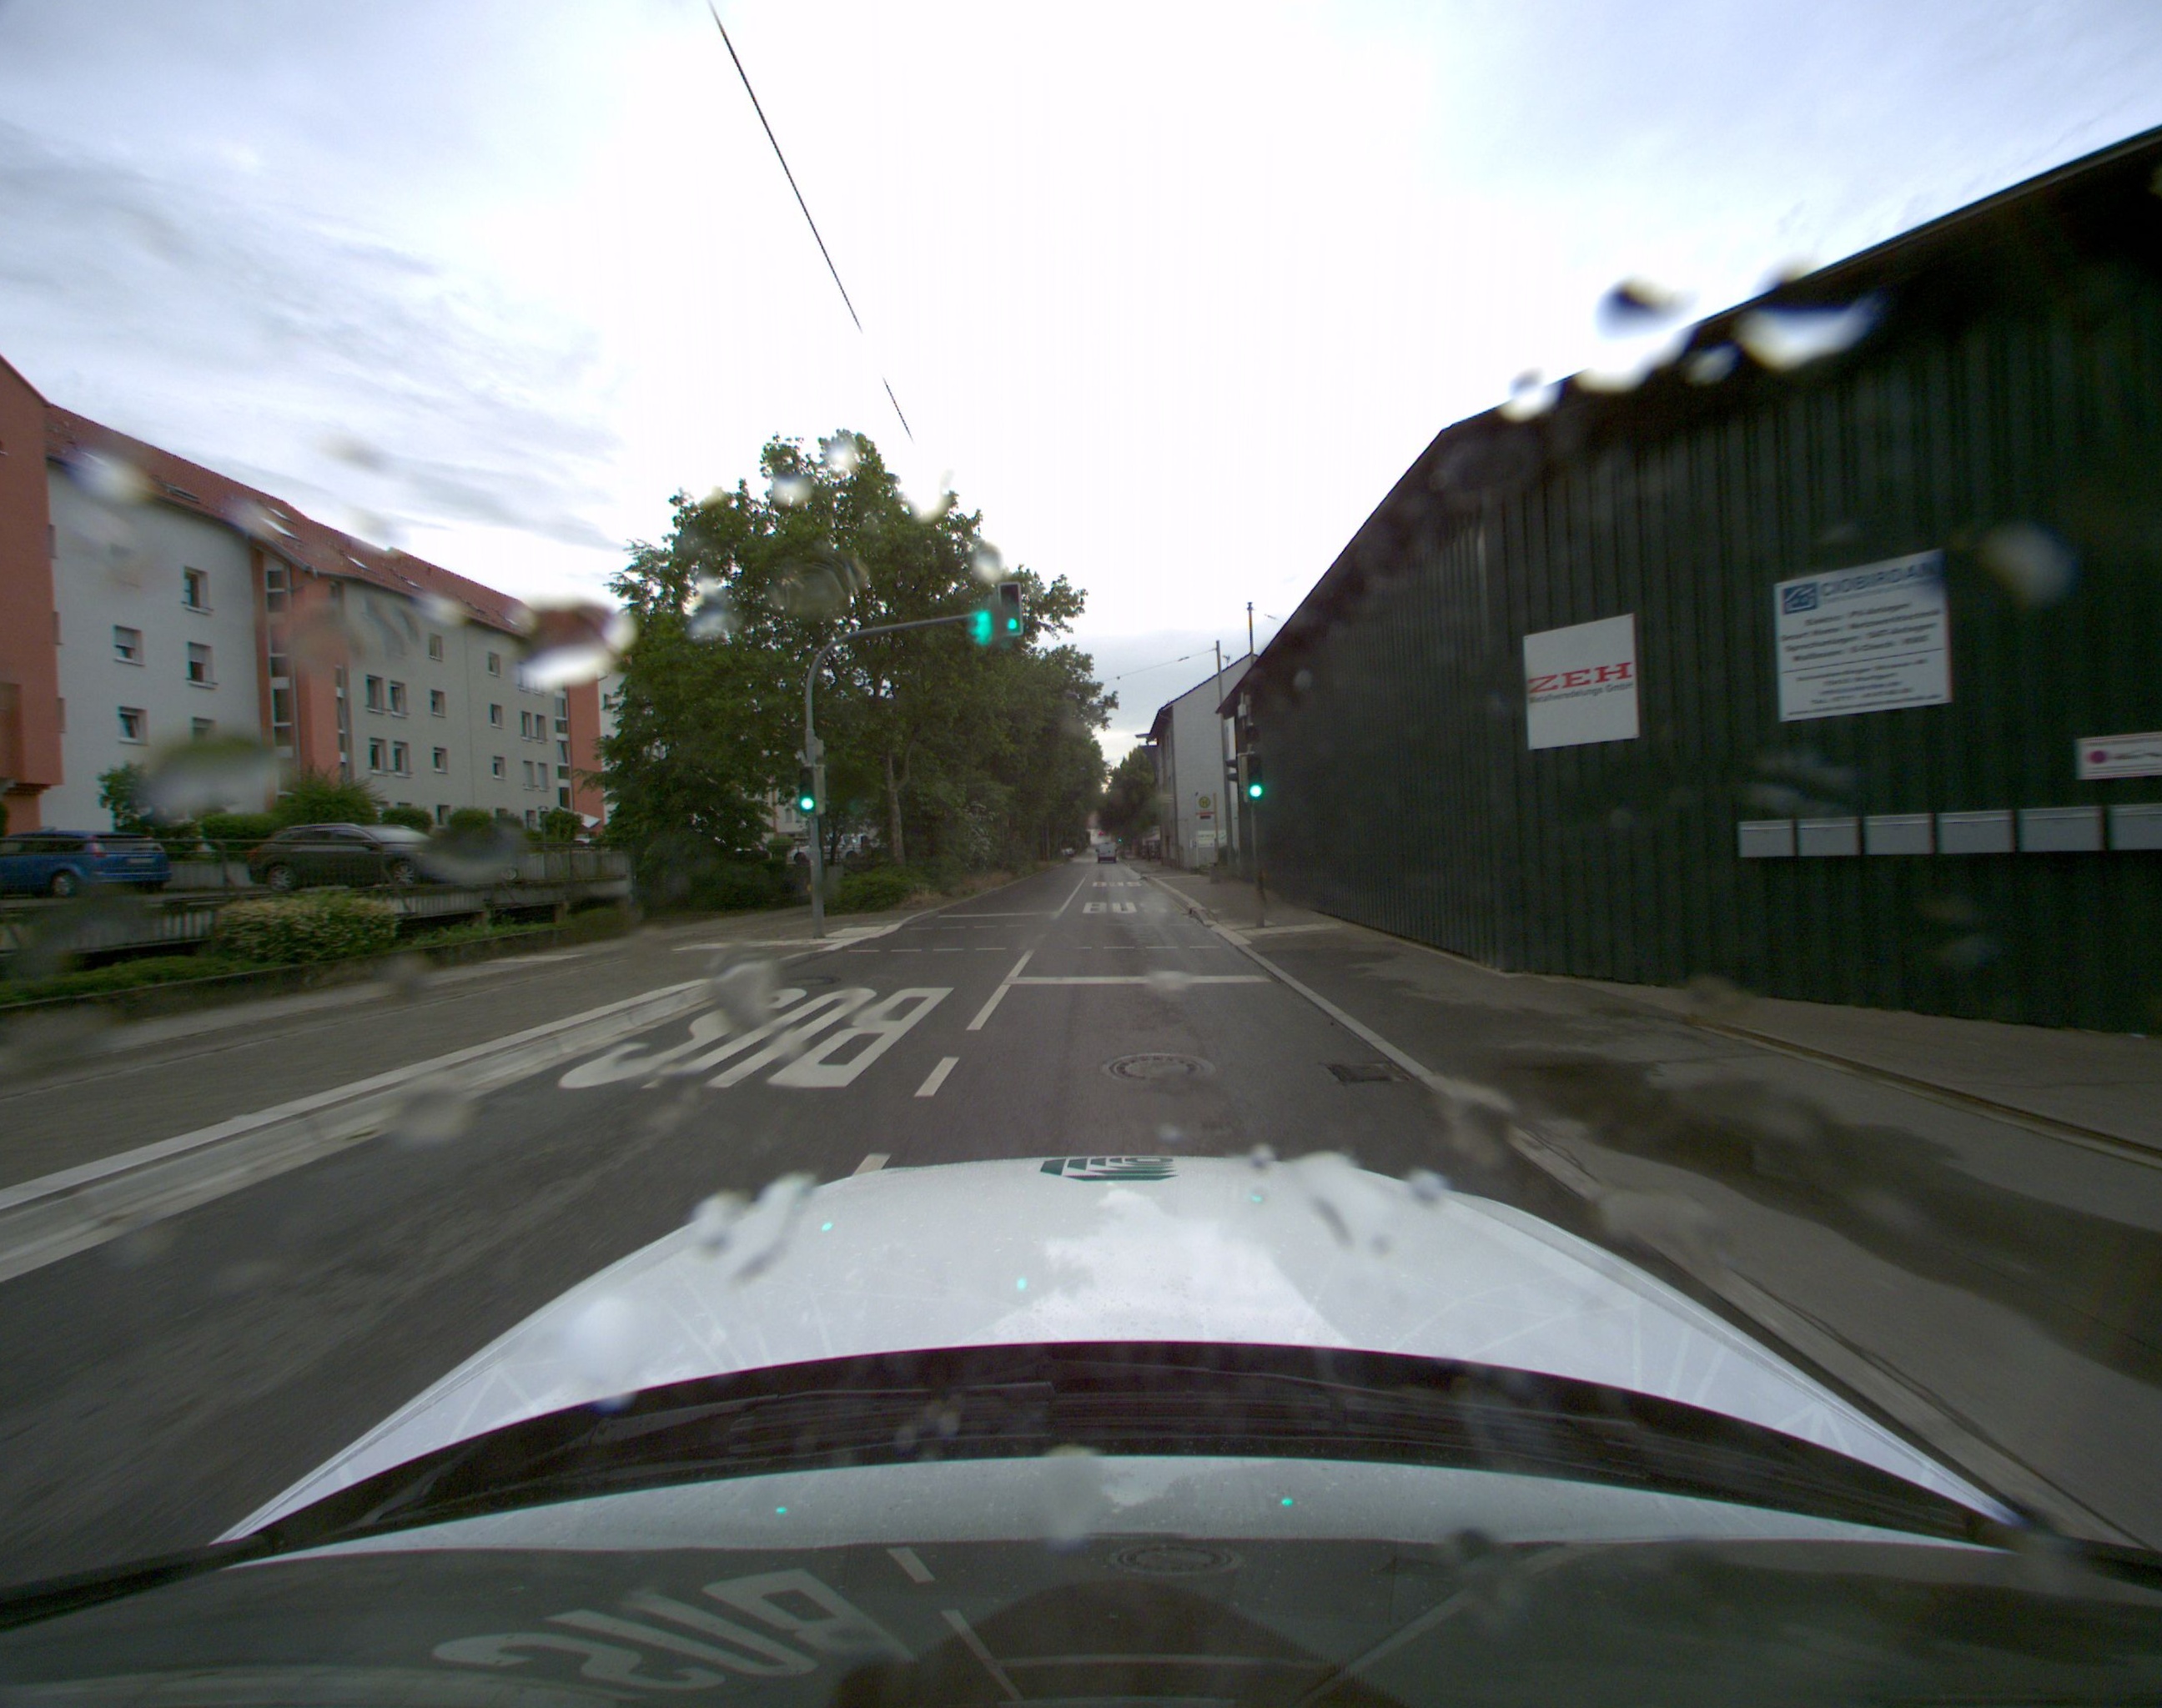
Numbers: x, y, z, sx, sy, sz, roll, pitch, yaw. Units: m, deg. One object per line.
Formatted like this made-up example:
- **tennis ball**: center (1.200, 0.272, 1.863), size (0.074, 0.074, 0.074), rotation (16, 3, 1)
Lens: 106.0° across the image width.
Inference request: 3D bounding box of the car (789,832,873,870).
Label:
- **car**: center (-14.075, -0.152, 45.951), size (4.155, 2.013, 1.718), rotation (-2, 0, -1)

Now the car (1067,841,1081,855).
- **car**: center (-1.279, -1.092, 150.374), size (2.206, 2.534, 4.614), rotation (-1, -1, 4)

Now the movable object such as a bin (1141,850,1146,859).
- **movable object such as a bin**: center (7.383, 0.043, 96.595), size (0.399, 1.066, 0.358), rotation (-5, -1, -5)

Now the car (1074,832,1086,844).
- **car**: center (-0.270, -3.338, 172.099), size (2.206, 2.294, 4.613), rotation (-1, -2, 4)

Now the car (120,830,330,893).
- **car**: center (-23.088, 0.208, 22.078), size (3.798, 1.602, 1.718), rotation (-1, -2, -1)

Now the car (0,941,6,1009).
- **car**: center (-24.276, 2.571, 16.243), size (3.503, 1.404, 1.720), rotation (-2, 0, 3)

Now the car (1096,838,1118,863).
- **car**: center (2.842, -0.357, 89.611), size (2.274, 2.553, 4.001), rotation (-2, -2, 2)

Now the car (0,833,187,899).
- **car**: center (-24.507, 0.304, 19.695), size (3.798, 1.511, 1.718), rotation (-1, -2, -1)

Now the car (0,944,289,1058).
- **car**: center (-15.235, 2.205, 12.491), size (4.340, 1.424, 1.860), rotation (-1, -2, 1)

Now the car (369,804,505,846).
- **car**: center (-23.047, -1.016, 29.222), size (3.587, 1.394, 1.543), rotation (-1, -2, -1)

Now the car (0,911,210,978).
- **car**: center (-25.746, 2.351, 21.388), size (3.798, 1.511, 1.718), rotation (-1, -2, -1)

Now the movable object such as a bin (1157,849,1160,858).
- **movable object such as a bin**: center (9.168, -0.064, 96.581), size (0.356, 1.067, 0.358), rotation (0, -2, -5)

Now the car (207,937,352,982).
- **car**: center (-28.717, 3.774, 29.250), size (3.587, 1.394, 1.543), rotation (-1, -2, -1)

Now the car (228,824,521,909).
- **car**: center (-15.071, 0.281, 17.576), size (4.530, 1.672, 2.000), rotation (-1, -2, 0)

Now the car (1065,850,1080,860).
- **car**: center (-1.445, 0.204, 143.644), size (2.206, 1.691, 4.613), rotation (-2, -2, 4)

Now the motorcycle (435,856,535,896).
- **motorcycle**: center (-14.022, 0.514, 19.196), size (1.944, 0.913, 0.569), rotation (-1, -2, 1)

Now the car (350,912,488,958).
- **car**: center (-23.644, 2.872, 29.176), size (3.587, 1.394, 1.543), rotation (-2, 0, -1)

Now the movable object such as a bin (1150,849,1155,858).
- **movable object such as a bin**: center (8.482, -0.042, 96.613), size (0.399, 1.067, 0.358), rotation (-2, -2, -5)
